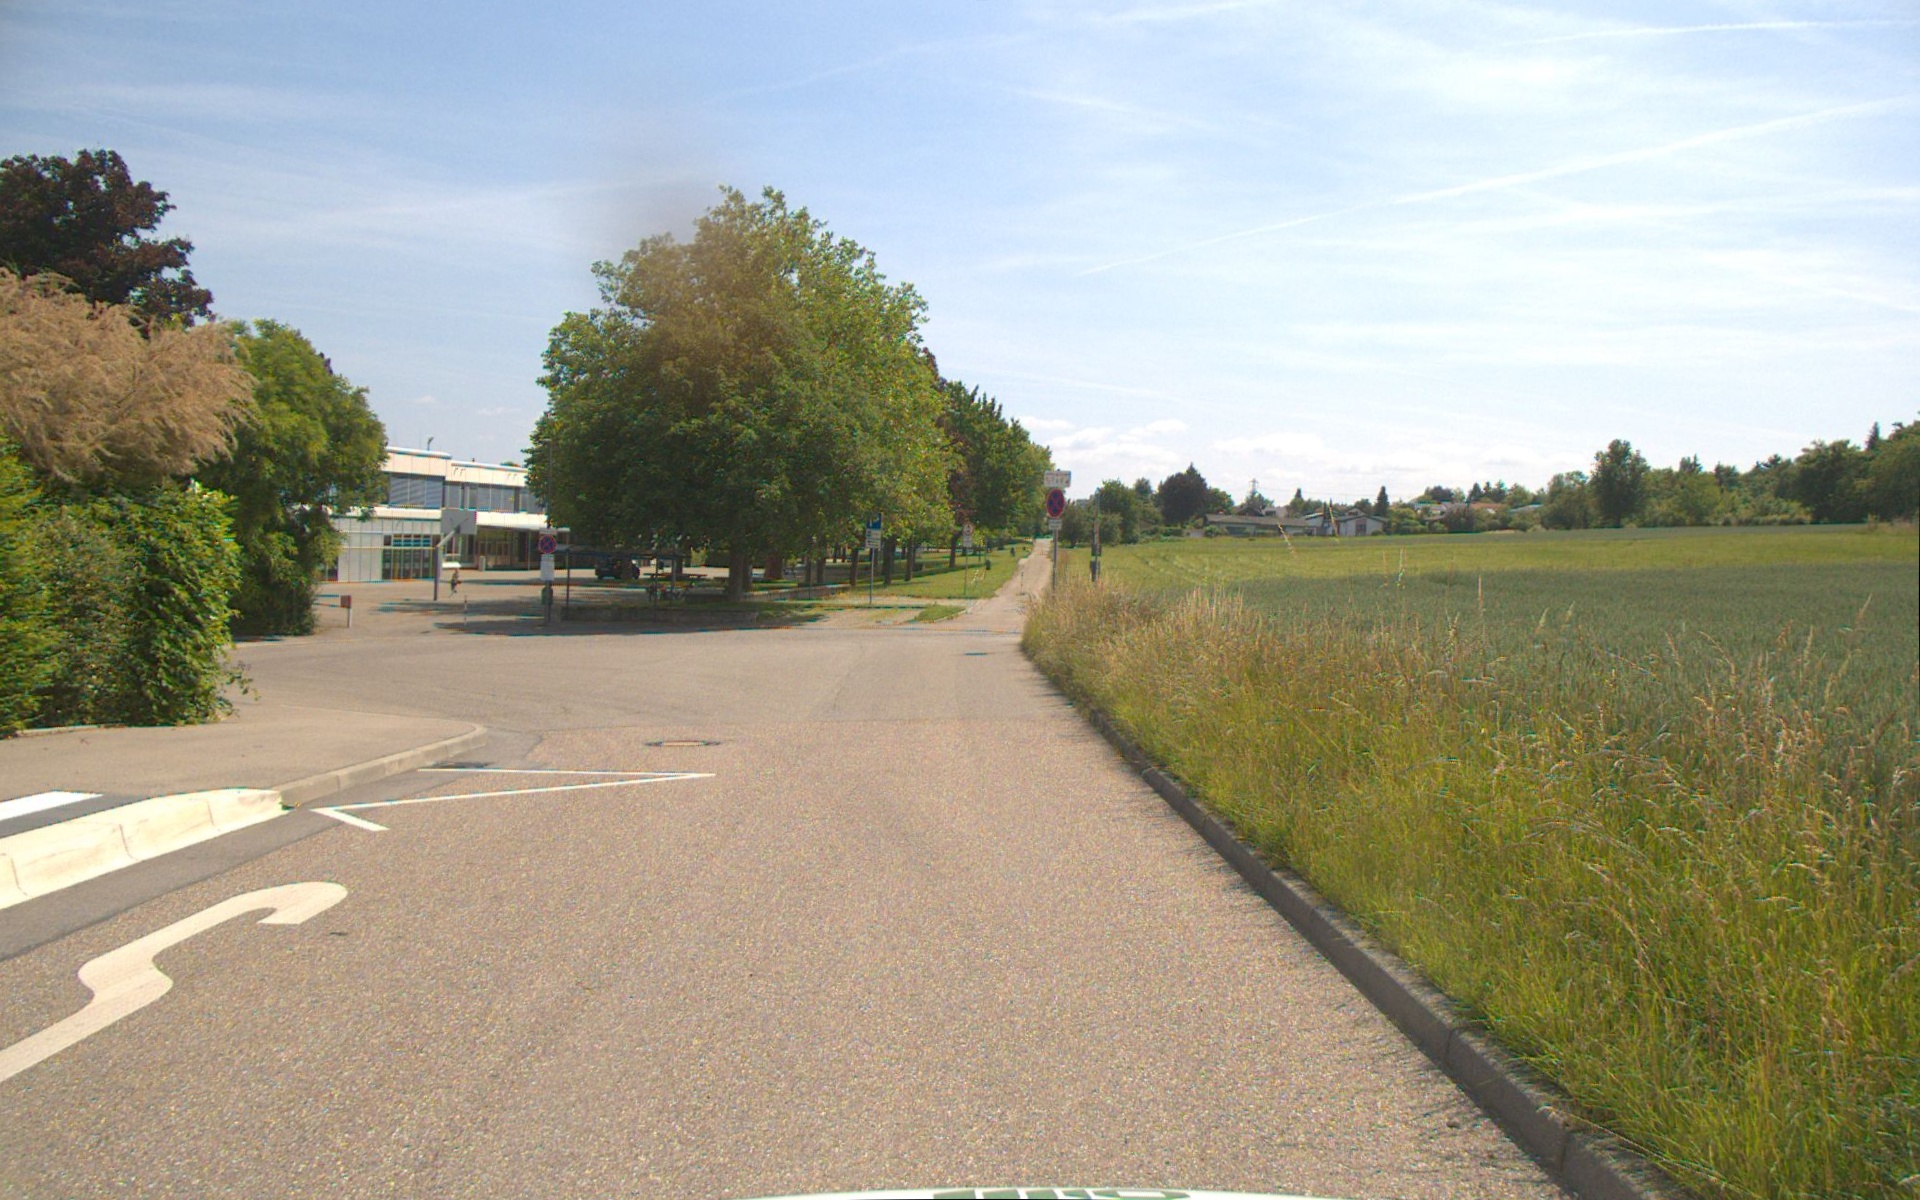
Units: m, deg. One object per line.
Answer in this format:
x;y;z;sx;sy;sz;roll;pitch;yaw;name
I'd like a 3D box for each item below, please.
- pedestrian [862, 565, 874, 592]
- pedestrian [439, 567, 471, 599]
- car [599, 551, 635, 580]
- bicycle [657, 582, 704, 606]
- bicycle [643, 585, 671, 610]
-7.310;-1.703;131.052;0.675;2.048;0.795;1;1;-30;pedestrian
-23.483;-0.805;76.923;1.044;1.448;0.920;1;1;18;pedestrian
-23.067;-2.319;111.317;1.656;1.866;3.411;1;1;0;car
-12.516;-0.282;74.183;2.022;1.057;0.571;0;1;-6;bicycle
-13.267;-0.113;72.373;0.582;1.057;1.895;0;1;10;bicycle
